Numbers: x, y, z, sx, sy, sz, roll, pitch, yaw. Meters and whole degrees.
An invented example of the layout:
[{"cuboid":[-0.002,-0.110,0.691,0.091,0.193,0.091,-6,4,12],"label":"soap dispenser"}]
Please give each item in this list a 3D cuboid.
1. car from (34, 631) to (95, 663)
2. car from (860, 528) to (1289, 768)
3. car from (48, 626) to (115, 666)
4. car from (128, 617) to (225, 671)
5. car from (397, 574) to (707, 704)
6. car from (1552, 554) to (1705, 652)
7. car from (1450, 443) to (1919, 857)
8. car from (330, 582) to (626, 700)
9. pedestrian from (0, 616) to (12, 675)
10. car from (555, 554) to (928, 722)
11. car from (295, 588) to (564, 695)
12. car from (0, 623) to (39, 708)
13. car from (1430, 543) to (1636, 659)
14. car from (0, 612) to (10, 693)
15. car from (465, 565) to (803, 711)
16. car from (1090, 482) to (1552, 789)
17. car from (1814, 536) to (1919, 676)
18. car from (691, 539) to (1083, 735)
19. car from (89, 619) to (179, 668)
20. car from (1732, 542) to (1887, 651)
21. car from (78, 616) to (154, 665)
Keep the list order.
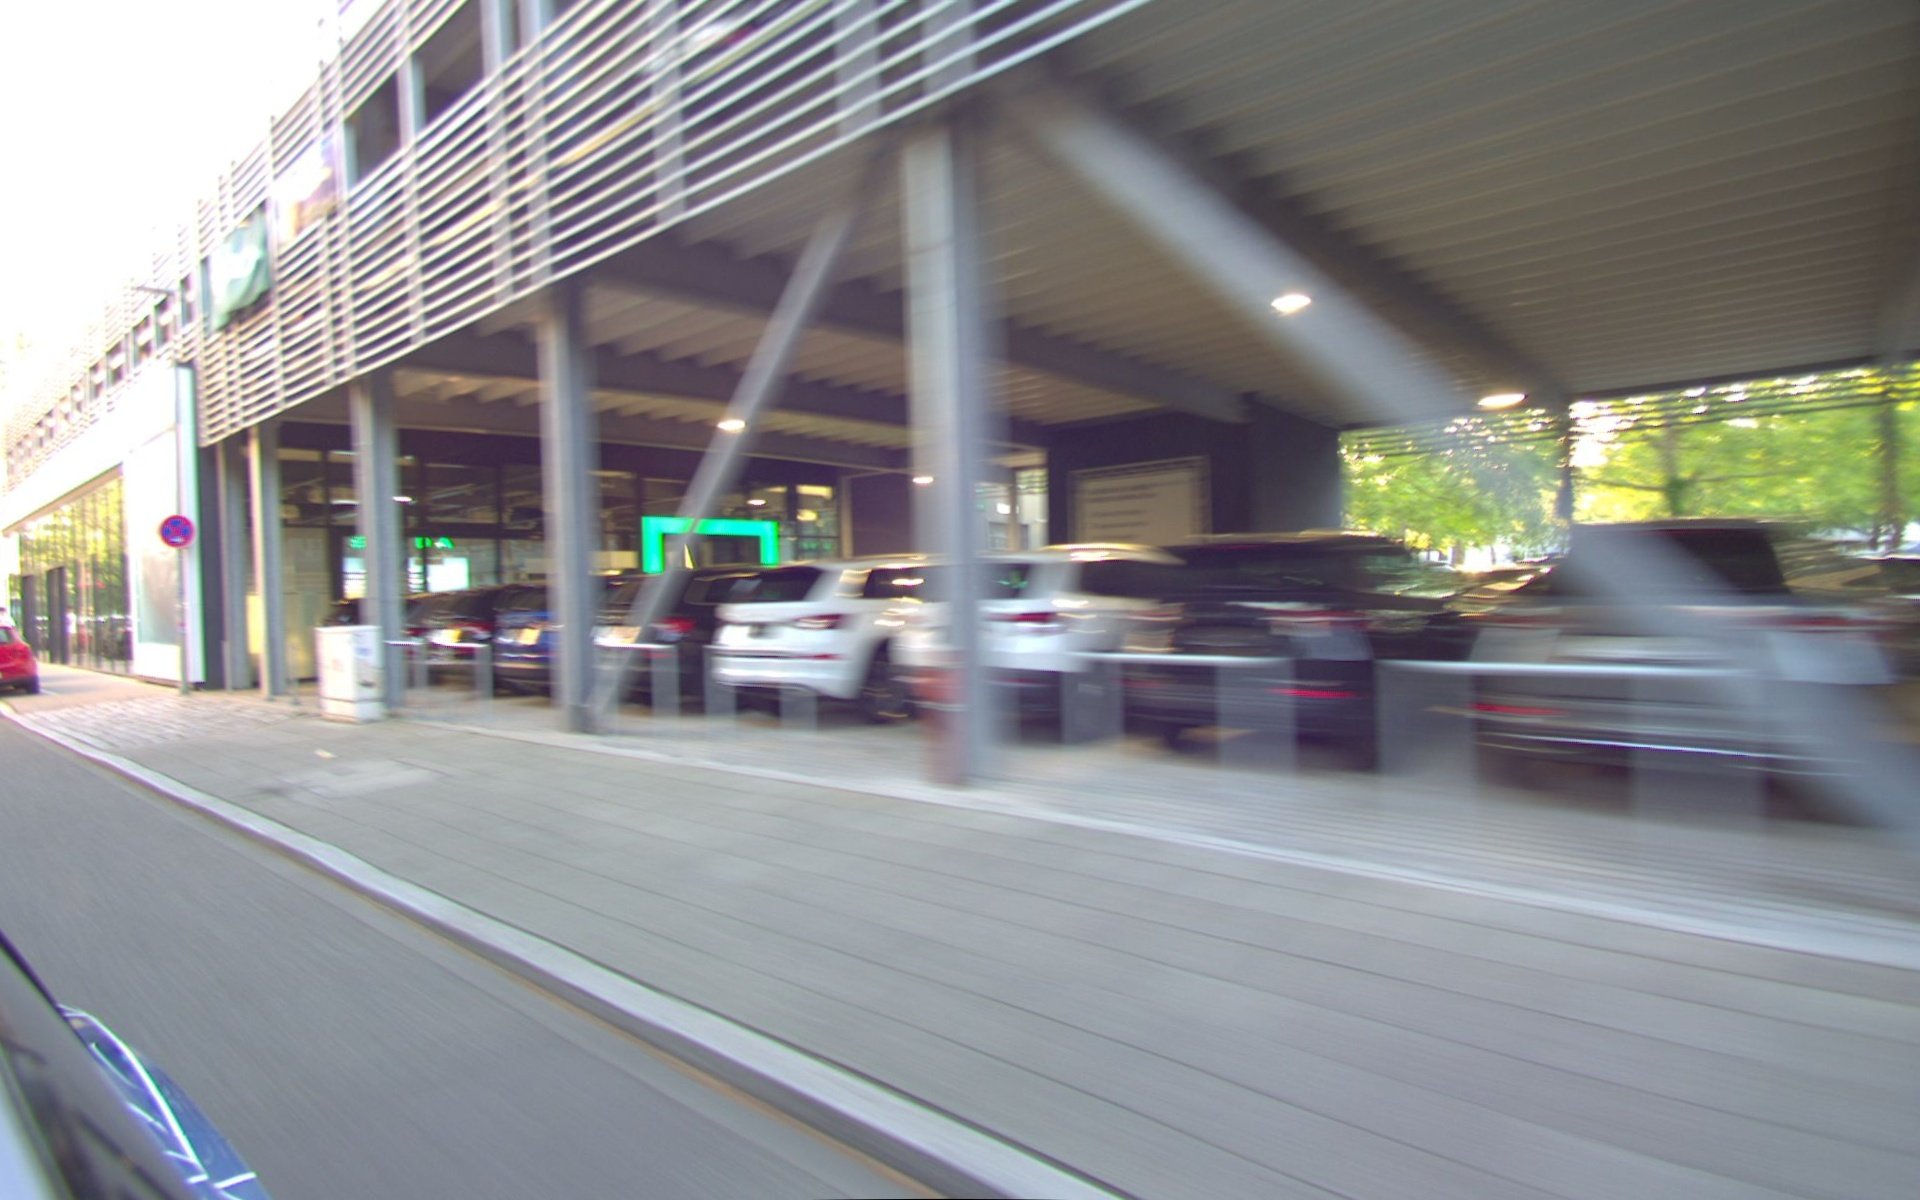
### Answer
[{"cuboid":[-40.333,2.100,45.581,3.449,1.303,1.577,-2,0,41],"label":"car"},{"cuboid":[1.232,0.316,9.285,1.860,1.696,4.040,-3,0,42],"label":"car"},{"cuboid":[-36.502,1.903,42.019,3.874,1.534,1.576,-2,0,41],"label":"car"},{"cuboid":[-24.495,1.356,31.592,3.992,1.526,1.680,-2,0,42],"label":"car"},{"cuboid":[-6.158,0.515,15.609,1.860,1.696,3.992,-3,0,42],"label":"car"},{"cuboid":[13.041,0.019,19.646,1.860,1.696,3.981,-3,0,42],"label":"car"},{"cuboid":[4.667,0.182,6.235,1.860,1.696,4.059,-3,0,42],"label":"car"},{"cuboid":[-8.083,0.612,17.255,1.860,1.696,4.121,-3,0,42],"label":"car"},{"cuboid":[-31.163,1.476,32.684,0.620,1.892,0.713,-3,-1,42],"label":"pedestrian"},{"cuboid":[-2.510,0.363,12.391,1.860,1.696,4.105,-3,0,42],"label":"car"},{"cuboid":[-9.751,0.696,18.819,1.860,1.696,4.000,-3,0,42],"label":"car"},{"cuboid":[-19.123,1.272,19.444,3.789,1.517,1.680,-2,0,41],"label":"car"},{"cuboid":[8.904,-0.014,15.560,1.860,1.532,4.161,-3,0,42],"label":"car"},{"cuboid":[-23.095,1.236,23.044,4.401,1.769,1.680,-2,0,41],"label":"car"},{"cuboid":[-4.349,0.424,13.944,1.860,1.696,3.992,-3,0,42],"label":"car"},{"cuboid":[2.958,0.172,7.732,1.860,1.696,4.059,-3,0,42],"label":"car"},{"cuboid":[12.148,0.011,12.820,1.860,1.570,3.945,-3,0,42],"label":"car"},{"cuboid":[-0.620,0.299,10.869,1.860,1.696,3.983,-3,0,42],"label":"car"},{"cuboid":[-28.350,1.490,34.701,4.190,1.526,1.680,-2,0,41],"label":"car"},{"cuboid":[15.045,-0.081,17.887,1.860,1.696,3.981,-3,0,42],"label":"car"},{"cuboid":[-31.612,1.513,37.879,3.874,1.662,1.576,-2,0,41],"label":"car"}]
